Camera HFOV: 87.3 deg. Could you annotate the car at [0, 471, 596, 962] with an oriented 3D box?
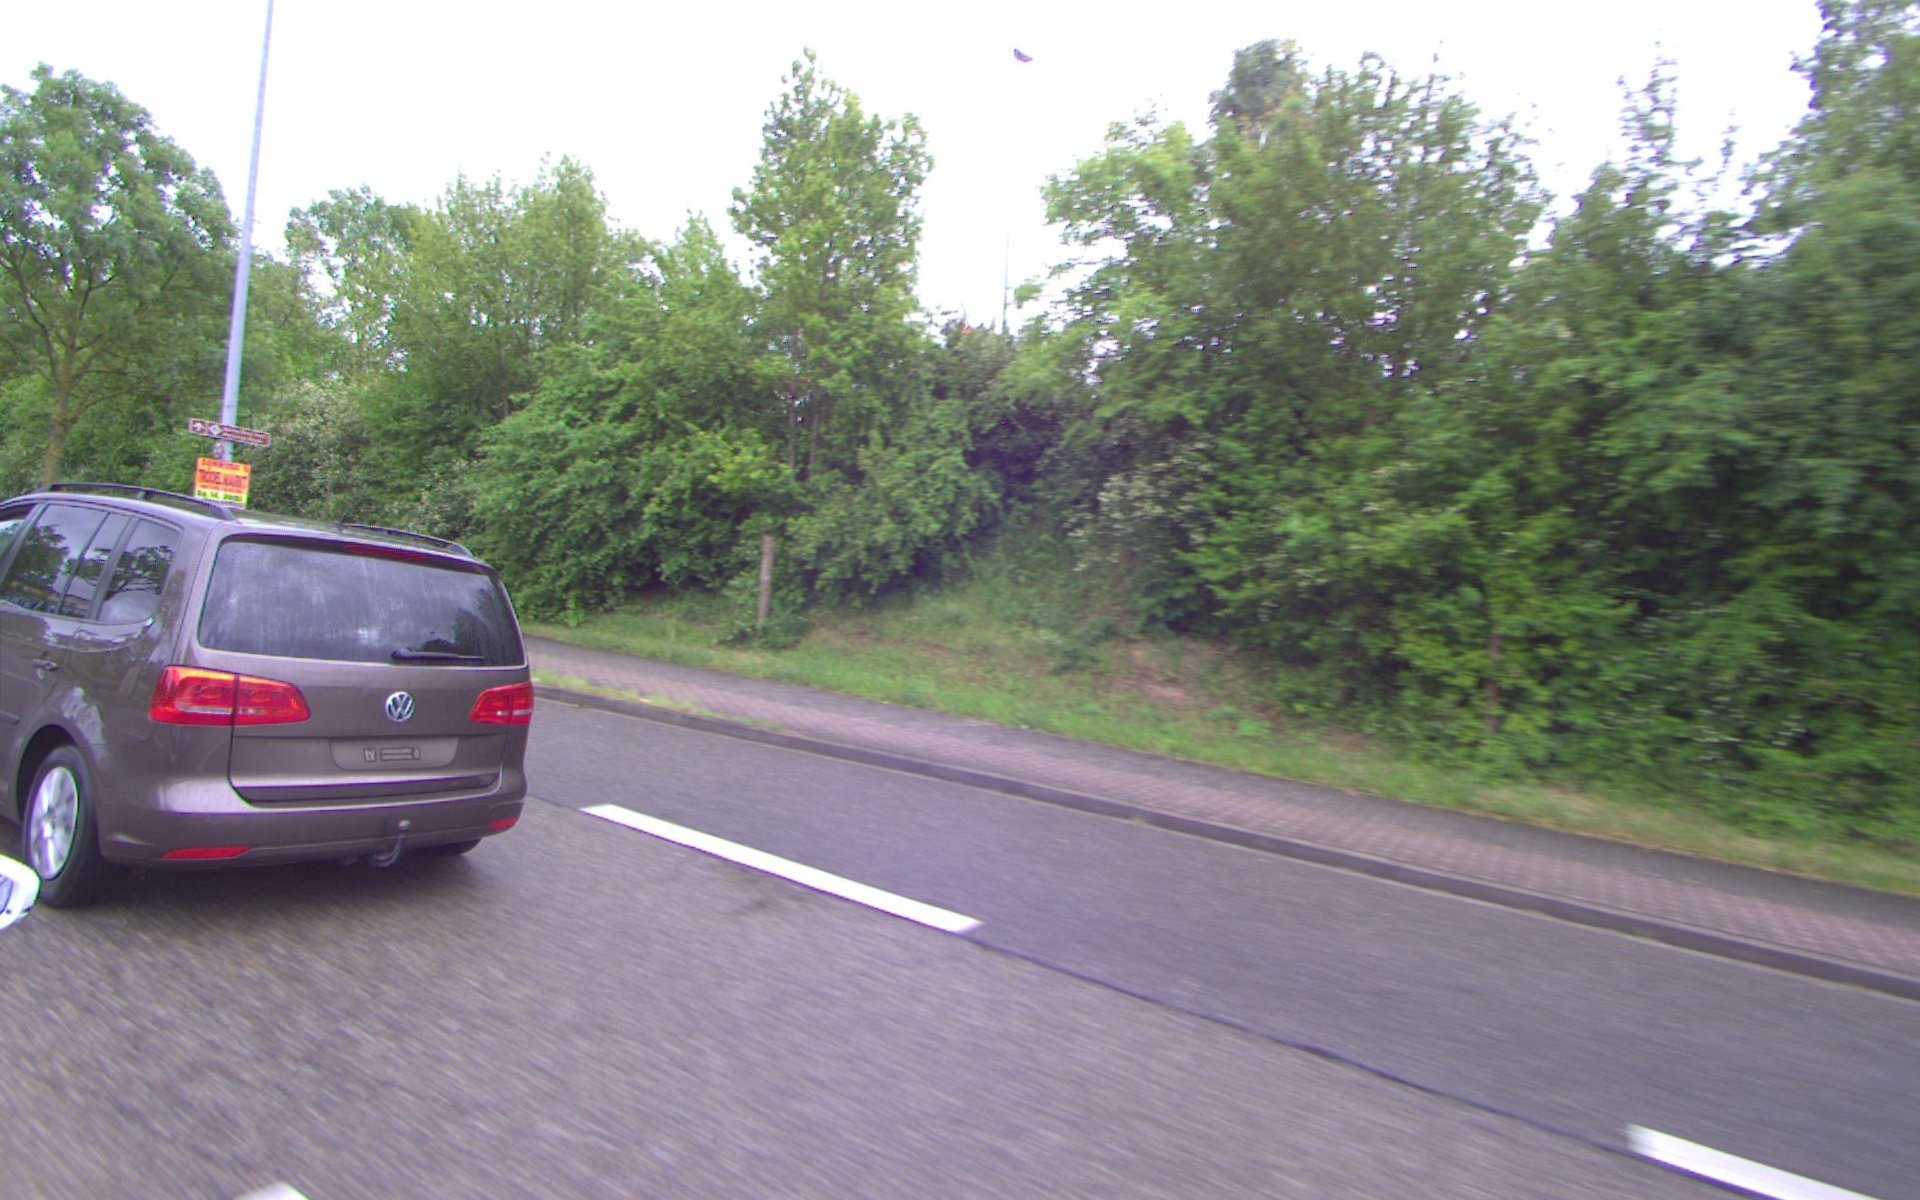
[{"bbox_3d":[-4.018,0.308,5.160,4.061,1.615,1.717,6,-2,31],"label":"car"}]
